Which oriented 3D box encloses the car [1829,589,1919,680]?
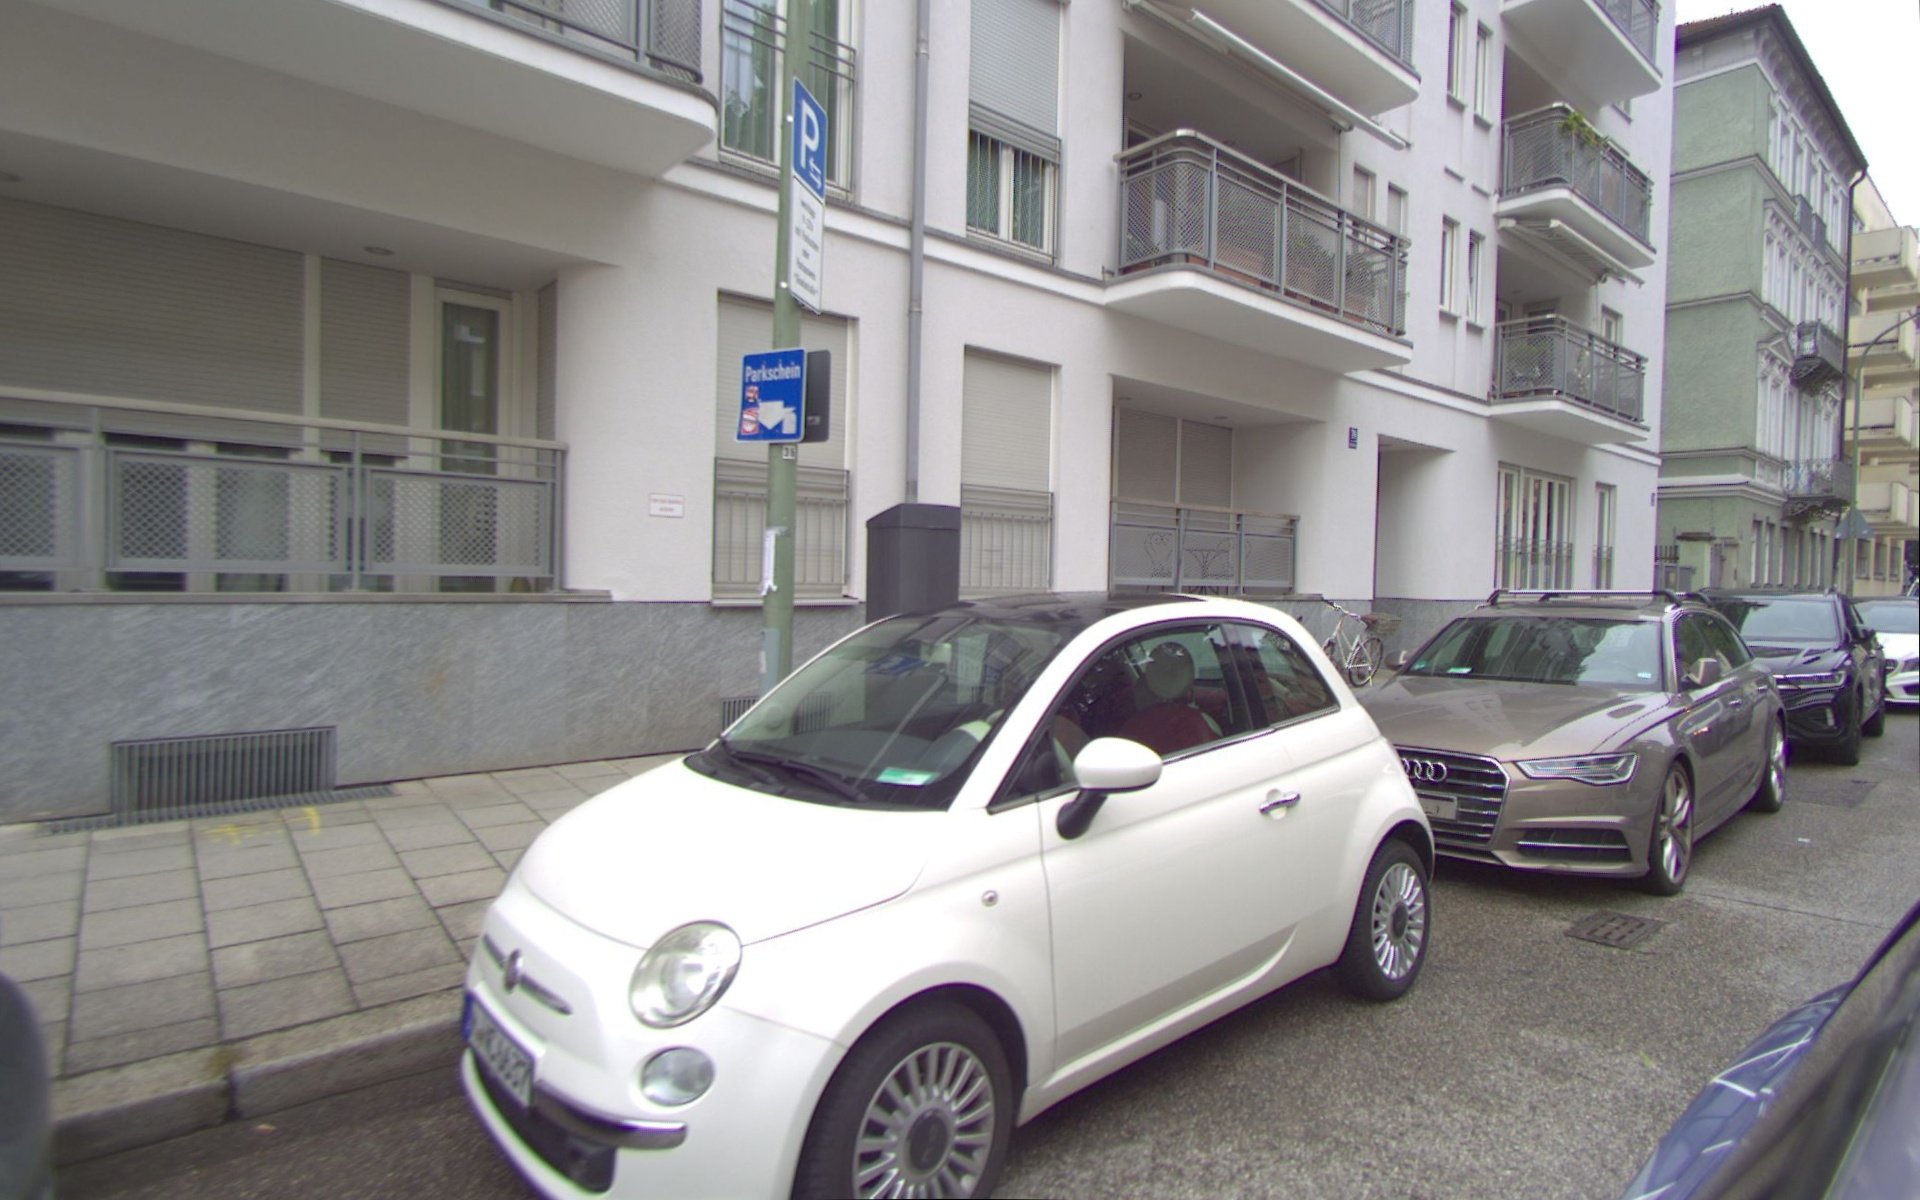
[{"bbox_3d":[16.302,0.534,17.440,3.494,1.430,1.620,-1,0,-43],"label":"car"}]

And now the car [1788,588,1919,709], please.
[{"bbox_3d":[12.882,0.583,13.978,4.135,1.458,1.660,0,0,-42],"label":"car"}]

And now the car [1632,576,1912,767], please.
[{"bbox_3d":[8.256,0.578,10.164,3.916,1.550,1.605,0,0,-42],"label":"car"}]

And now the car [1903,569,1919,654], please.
[{"bbox_3d":[23.673,0.264,23.628,4.509,1.920,1.857,0,-1,-40],"label":"car"}]

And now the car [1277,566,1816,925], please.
[{"bbox_3d":[4.035,0.621,6.558,4.543,1.550,1.736,0,0,-42],"label":"car"}]

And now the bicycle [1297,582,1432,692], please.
[{"bbox_3d":[4.807,0.396,11.954,2.091,1.174,0.628,0,2,-43],"label":"bicycle"}]

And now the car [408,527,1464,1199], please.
[{"bbox_3d":[0.222,0.636,3.458,3.466,1.549,1.521,0,0,-42],"label":"car"}]

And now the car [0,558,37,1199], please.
[{"bbox_3d":[-3.102,0.667,0.414,4.011,1.425,1.765,-1,2,-44],"label":"car"}]
